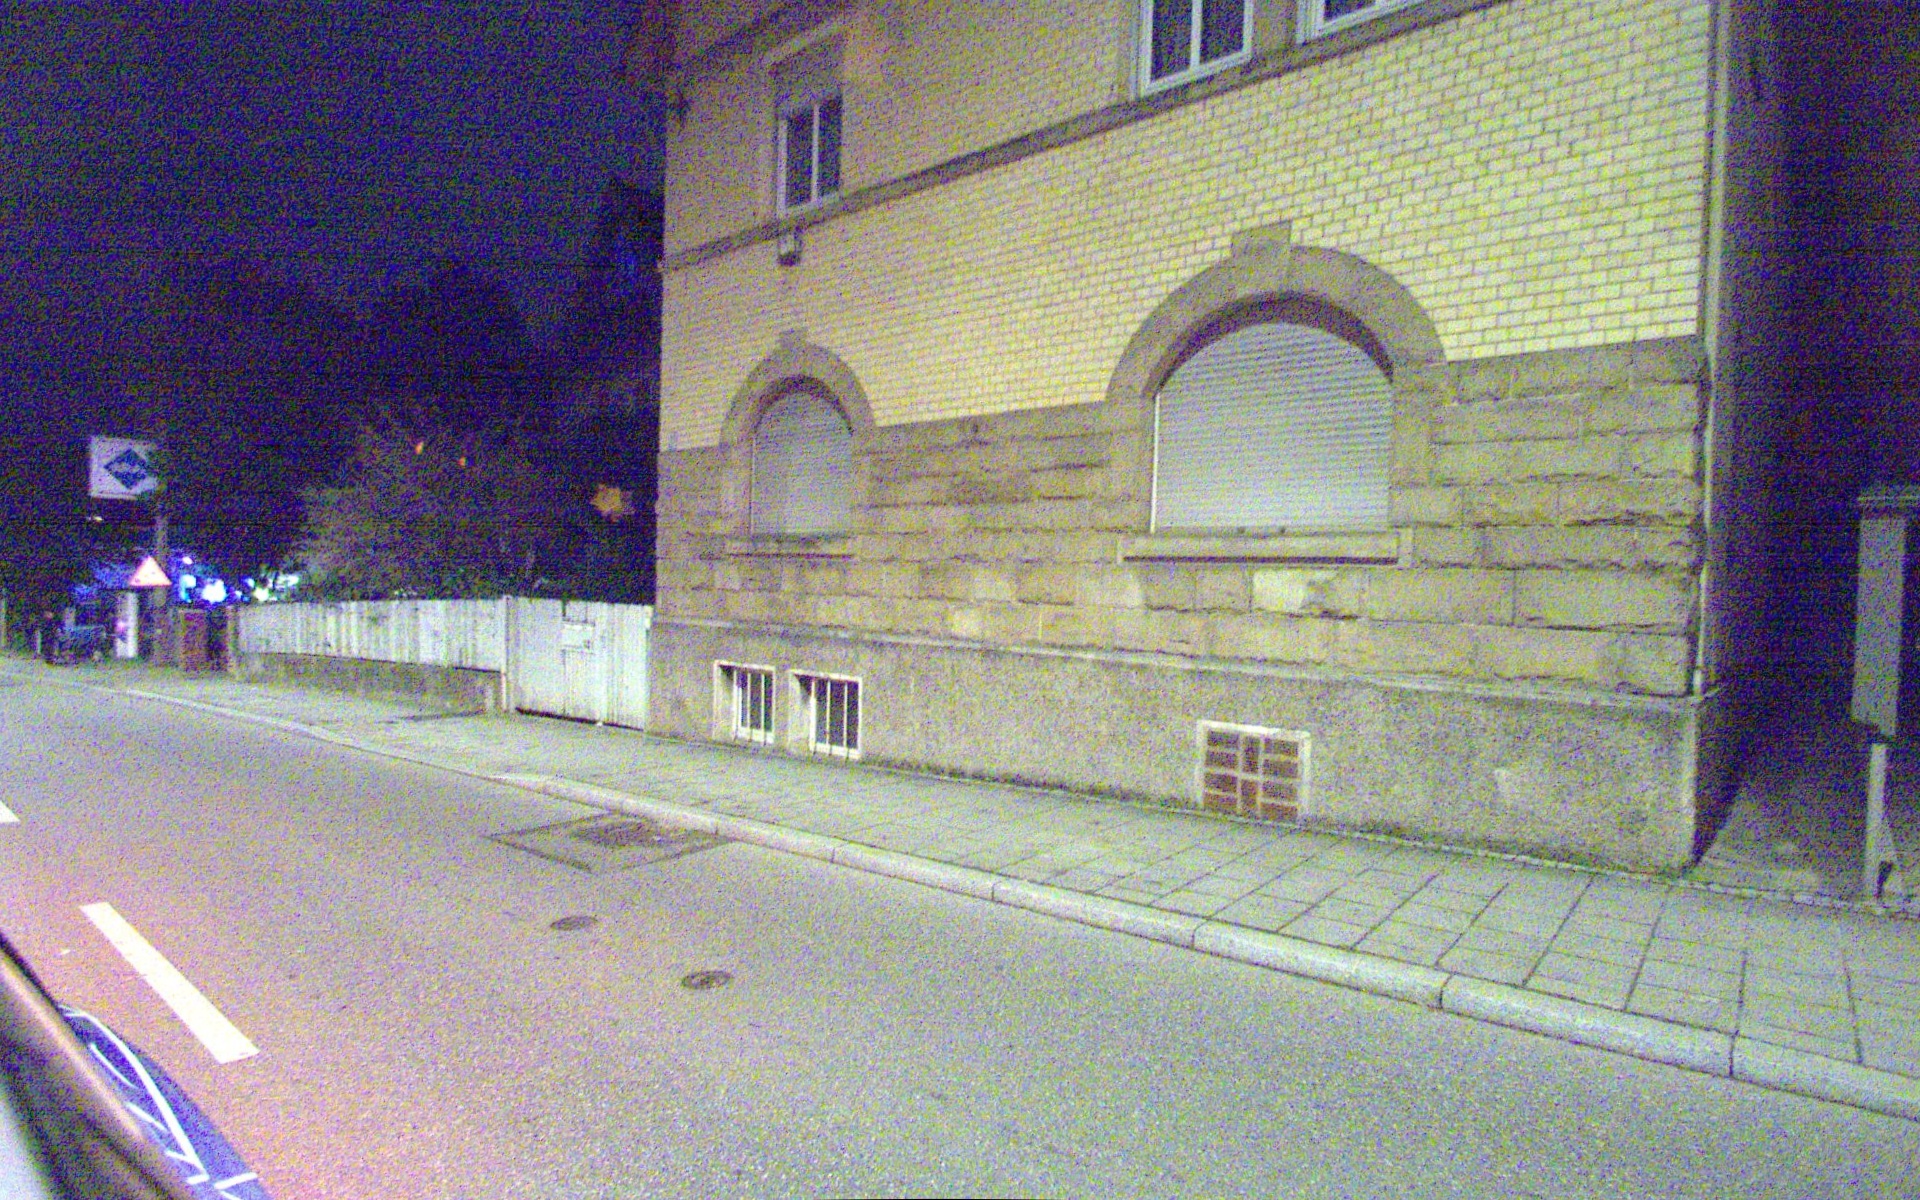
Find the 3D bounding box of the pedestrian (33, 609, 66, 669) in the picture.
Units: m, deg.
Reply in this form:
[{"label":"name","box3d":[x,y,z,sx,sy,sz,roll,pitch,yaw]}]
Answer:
[{"label":"pedestrian","box3d":[-27.628,1.180,30.714,0.500,1.773,0.664,-1,0,41]}]

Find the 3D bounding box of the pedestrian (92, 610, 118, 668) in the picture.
[{"label":"pedestrian","box3d":[-26.931,1.220,31.874,0.500,1.773,0.557,-1,0,41]}]
